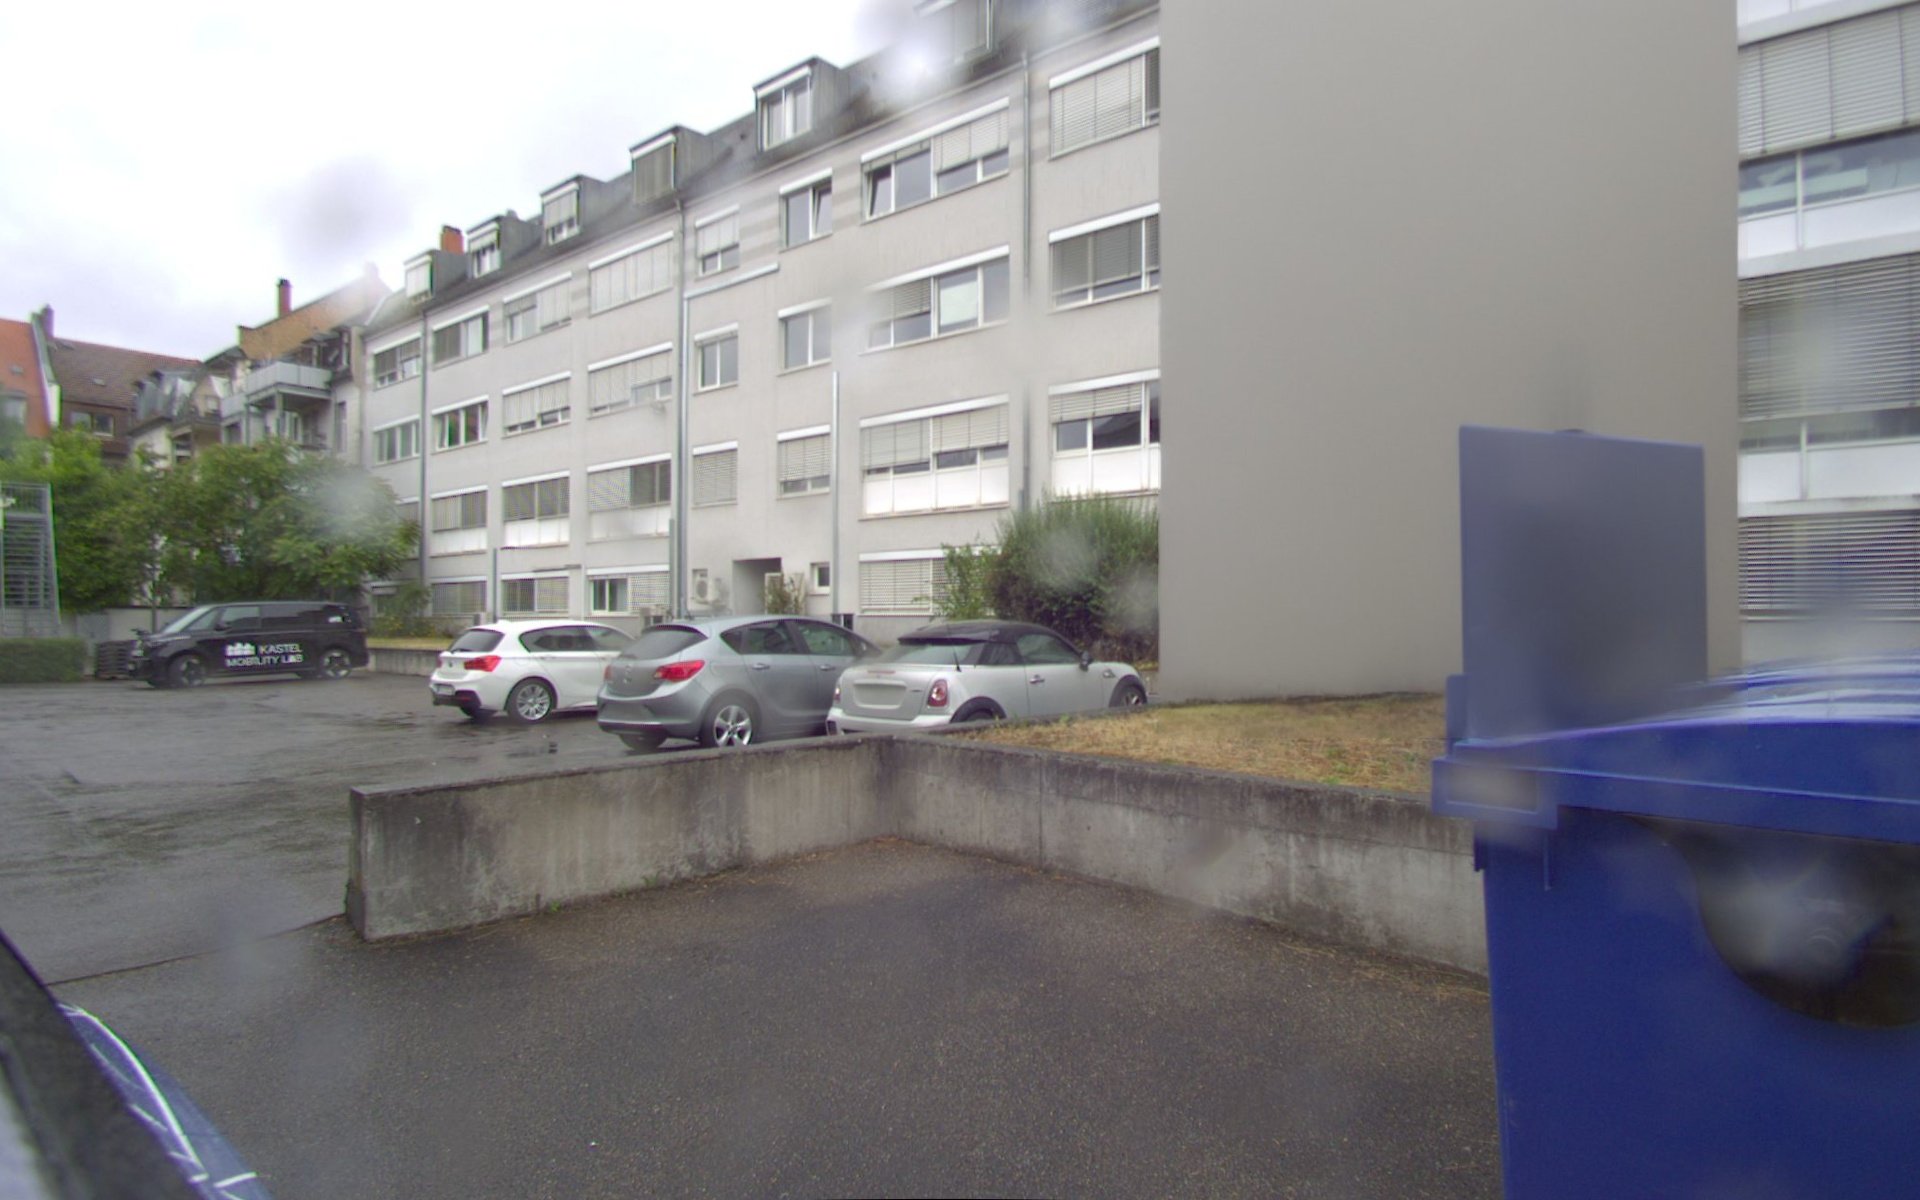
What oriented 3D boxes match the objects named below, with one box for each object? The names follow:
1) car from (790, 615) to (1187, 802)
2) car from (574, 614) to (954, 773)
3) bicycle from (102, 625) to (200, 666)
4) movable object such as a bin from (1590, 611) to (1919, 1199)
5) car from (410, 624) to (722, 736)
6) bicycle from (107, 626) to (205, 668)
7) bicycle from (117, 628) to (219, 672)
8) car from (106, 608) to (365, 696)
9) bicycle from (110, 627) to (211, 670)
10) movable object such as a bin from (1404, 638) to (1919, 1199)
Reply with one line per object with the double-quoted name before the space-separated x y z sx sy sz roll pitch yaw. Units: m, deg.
"car" 0.482 0.922 10.309 1.821 1.343 4.122 -2 0 41
"car" -2.087 0.941 11.725 1.820 1.495 4.123 -2 -2 39
"bicycle" -24.987 1.386 31.287 0.644 1.195 2.287 2 0 45
"movable object such as a bin" 2.465 0.715 2.615 1.189 1.347 1.117 -1 -2 -45
"car" -5.818 1.093 15.355 1.752 1.444 4.098 -1 -1 39
"bicycle" -24.504 1.400 30.876 0.644 1.195 2.287 2 0 45
"bicycle" -23.077 1.445 29.521 0.644 1.195 2.287 2 0 45
"car" -16.840 1.140 23.734 1.985 1.851 4.573 -3 -2 37
"bicycle" -23.699 1.426 30.027 0.644 1.195 2.287 2 0 45
"movable object such as a bin" 1.562 0.753 1.667 1.188 1.347 1.118 1 -1 -41
